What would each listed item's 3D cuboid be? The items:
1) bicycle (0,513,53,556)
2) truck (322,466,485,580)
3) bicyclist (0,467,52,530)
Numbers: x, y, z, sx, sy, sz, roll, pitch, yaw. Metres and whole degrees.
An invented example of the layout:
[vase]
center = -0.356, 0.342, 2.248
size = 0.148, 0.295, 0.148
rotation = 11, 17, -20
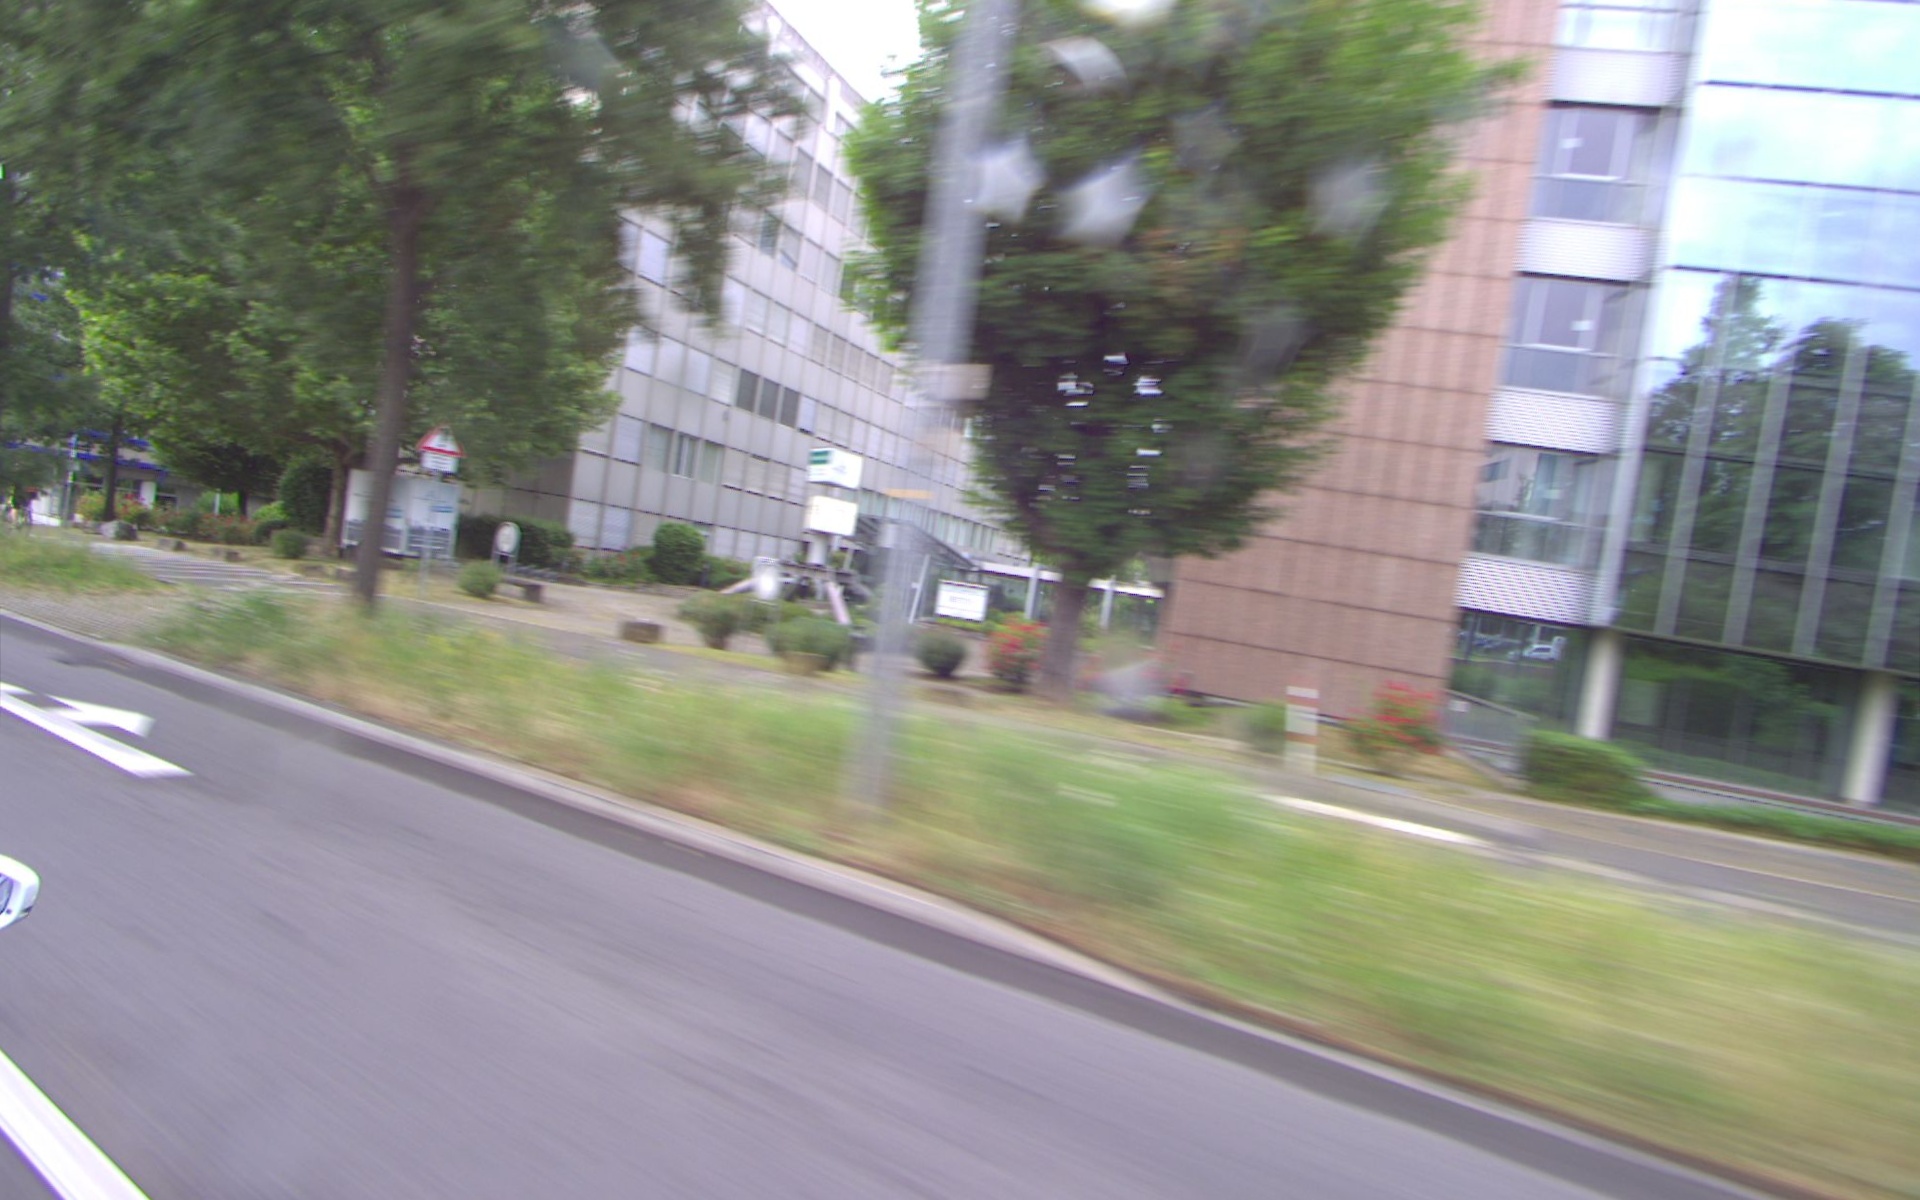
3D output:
[bicycle]
center = -21.939, -1.560, 23.327
size = 2.280, 0.818, 0.668
rotation = 7, -1, 32
[truck]
center = -15.102, -2.101, 27.287
size = 3.931, 2.547, 1.751
rotation = 7, -1, 28
[bicyclist]
center = -21.759, -2.355, 23.295
size = 1.199, 1.303, 0.657
rotation = 7, -2, 31
